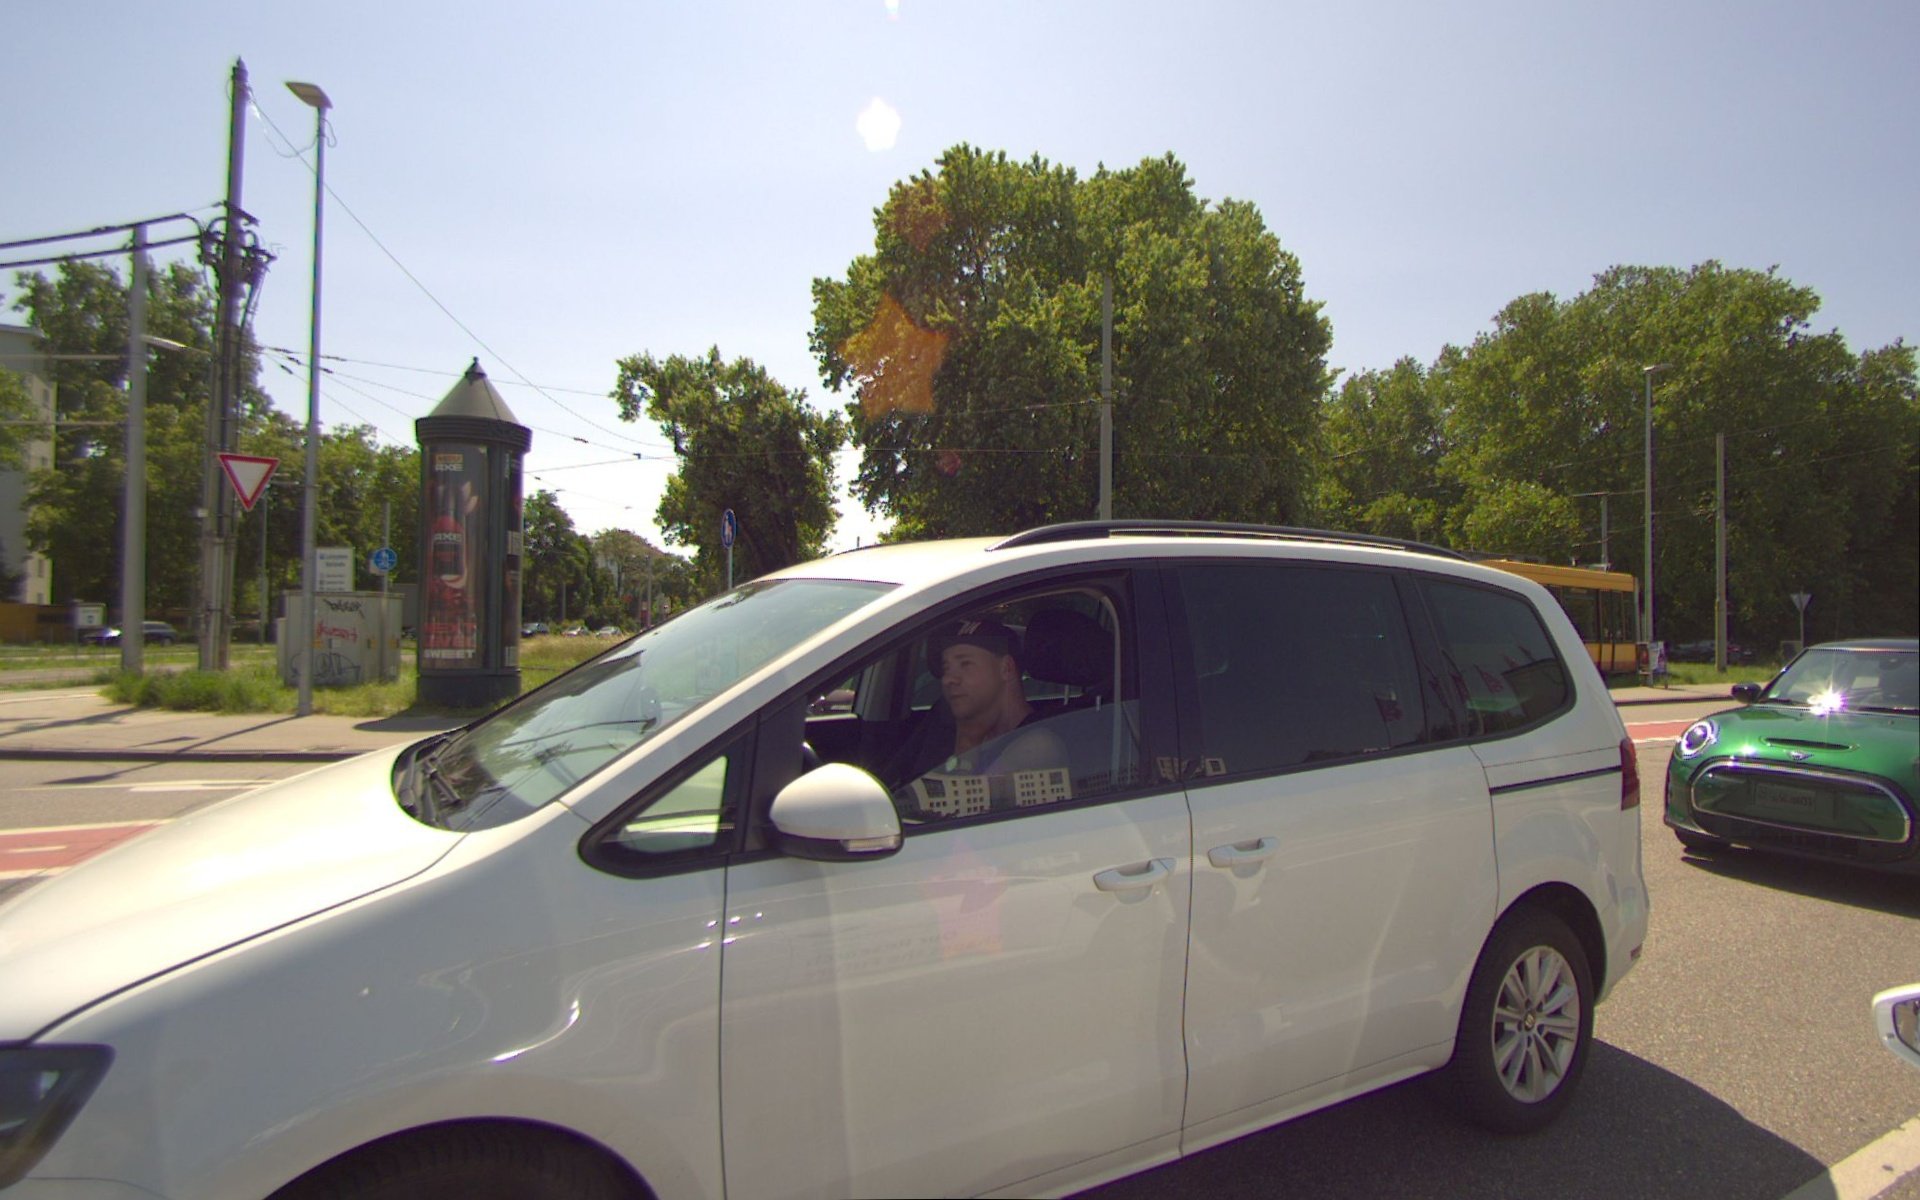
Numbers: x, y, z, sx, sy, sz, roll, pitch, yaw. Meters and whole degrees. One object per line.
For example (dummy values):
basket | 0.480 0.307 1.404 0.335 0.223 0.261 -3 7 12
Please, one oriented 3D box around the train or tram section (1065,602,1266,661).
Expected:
train or tram section | 14.152 2.332 70.593 13.973 3.808 3.014 -2 -3 38

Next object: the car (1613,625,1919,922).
car | 6.292 0.930 6.615 3.941 1.482 1.715 1 -1 -29

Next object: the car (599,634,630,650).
car | -39.143 4.764 113.792 1.960 1.754 4.002 -2 -2 2

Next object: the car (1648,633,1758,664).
car | 37.312 2.433 50.579 1.642 1.435 4.293 3 -2 -20

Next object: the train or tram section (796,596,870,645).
train or tram section | -12.376 2.123 96.206 2.987 4.310 12.666 1 -3 -27

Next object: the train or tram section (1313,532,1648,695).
train or tram section | 15.208 0.508 28.519 12.868 3.808 2.996 1 -3 -36

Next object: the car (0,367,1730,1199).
car | 0.048 0.638 2.925 4.773 1.746 1.803 1 -1 -30

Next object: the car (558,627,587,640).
car | -40.465 3.446 104.894 1.573 1.303 3.646 -2 -1 -1

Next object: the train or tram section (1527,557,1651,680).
train or tram section | 22.763 0.816 36.921 2.971 3.808 11.601 -2 -3 28

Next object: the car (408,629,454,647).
car | -40.175 2.887 76.342 1.573 1.303 3.646 -2 -1 -1

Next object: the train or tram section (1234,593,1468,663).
train or tram section | 23.070 1.819 60.759 2.994 3.808 14.067 1 -3 -33

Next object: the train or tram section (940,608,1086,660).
train or tram section | 3.984 2.686 77.723 11.244 3.808 3.019 -2 -3 32

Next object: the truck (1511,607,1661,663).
truck | 35.421 2.011 57.221 2.528 2.948 7.312 2 -3 -19

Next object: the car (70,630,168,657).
car | -44.502 2.289 53.263 1.850 1.303 4.000 -2 -2 -1
